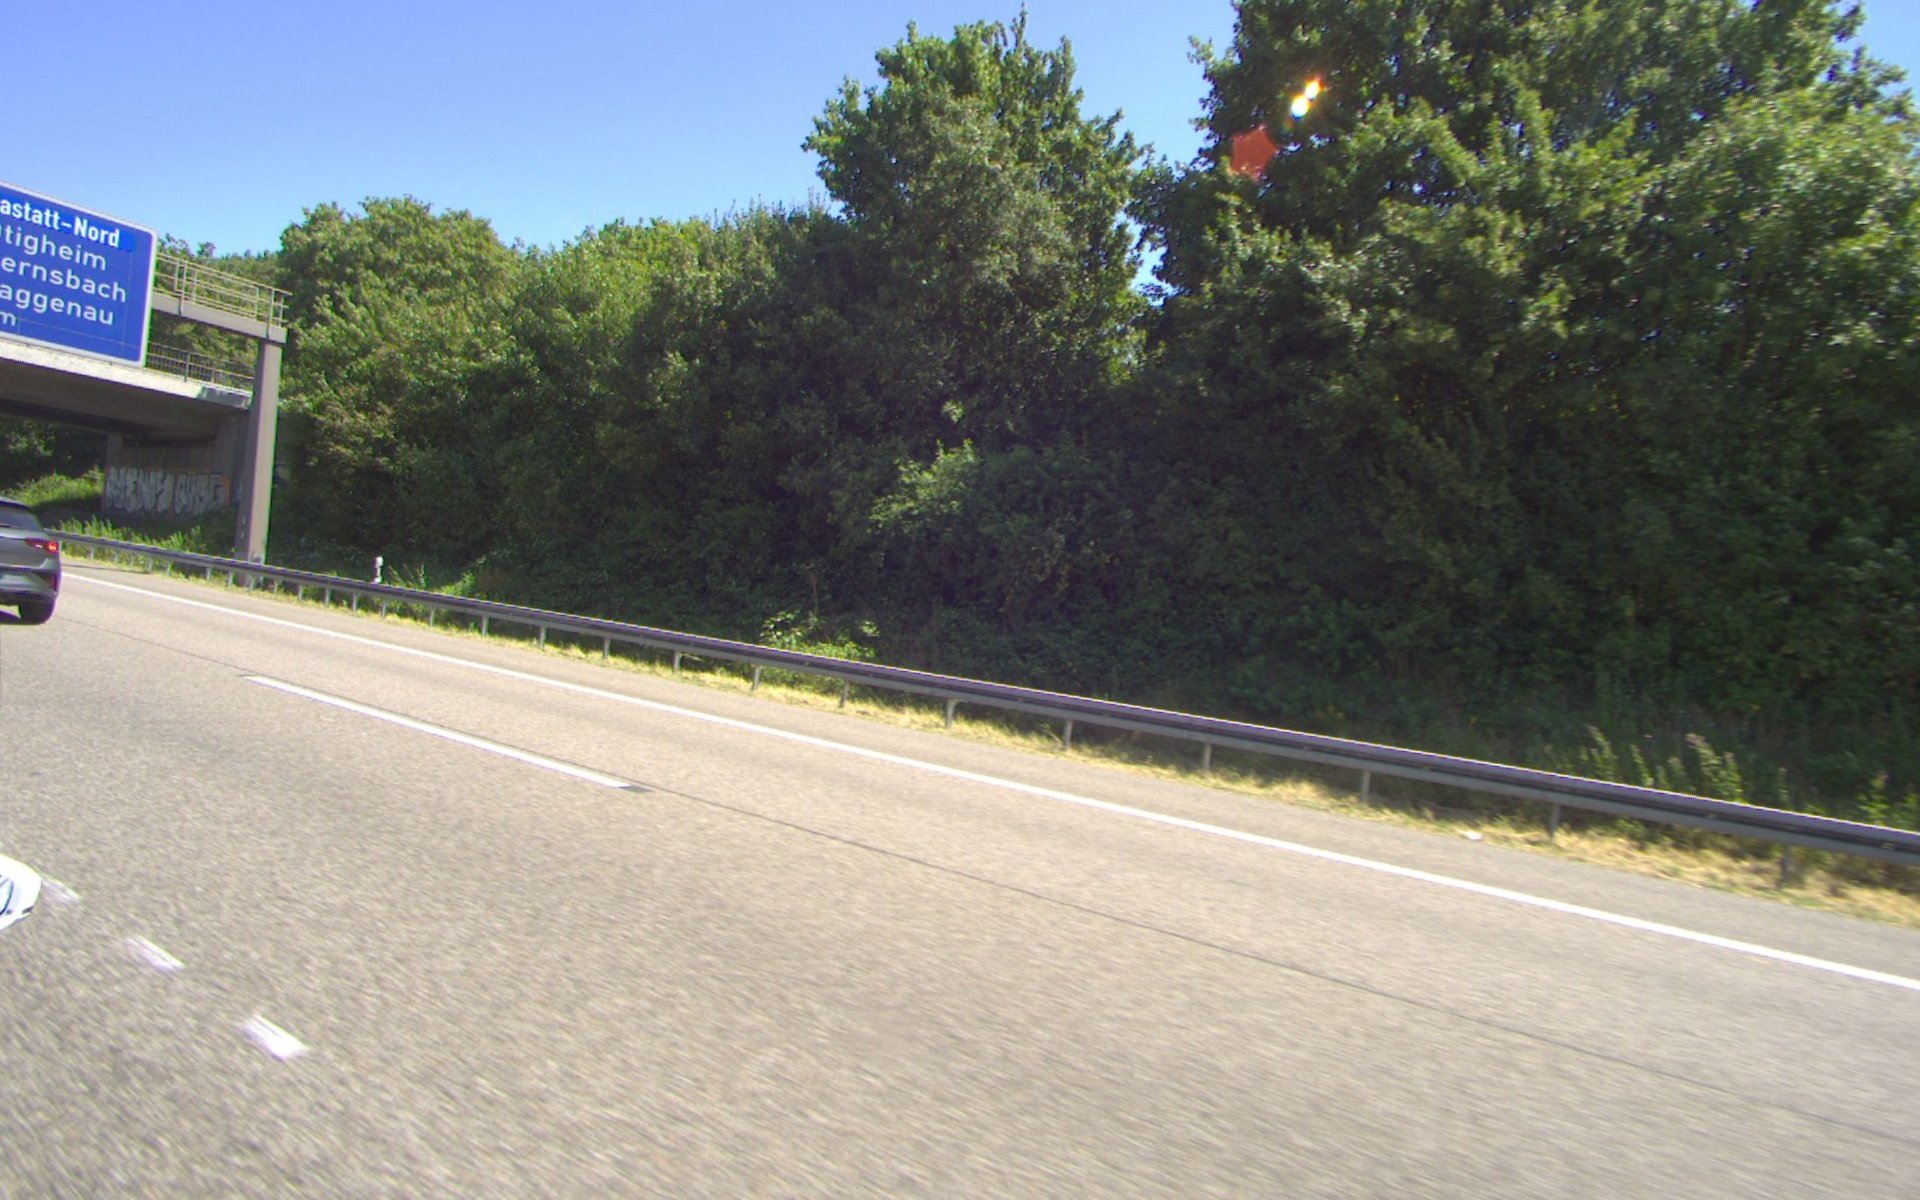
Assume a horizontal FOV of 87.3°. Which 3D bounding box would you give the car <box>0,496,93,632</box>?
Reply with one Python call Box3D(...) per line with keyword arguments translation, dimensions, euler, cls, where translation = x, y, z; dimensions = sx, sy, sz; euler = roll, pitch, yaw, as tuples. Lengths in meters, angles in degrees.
Box3D(translation=(-13.369, -0.692, 12.932), dimensions=(4.680, 1.550, 1.903), euler=(7, -1, 31), cls="car")
